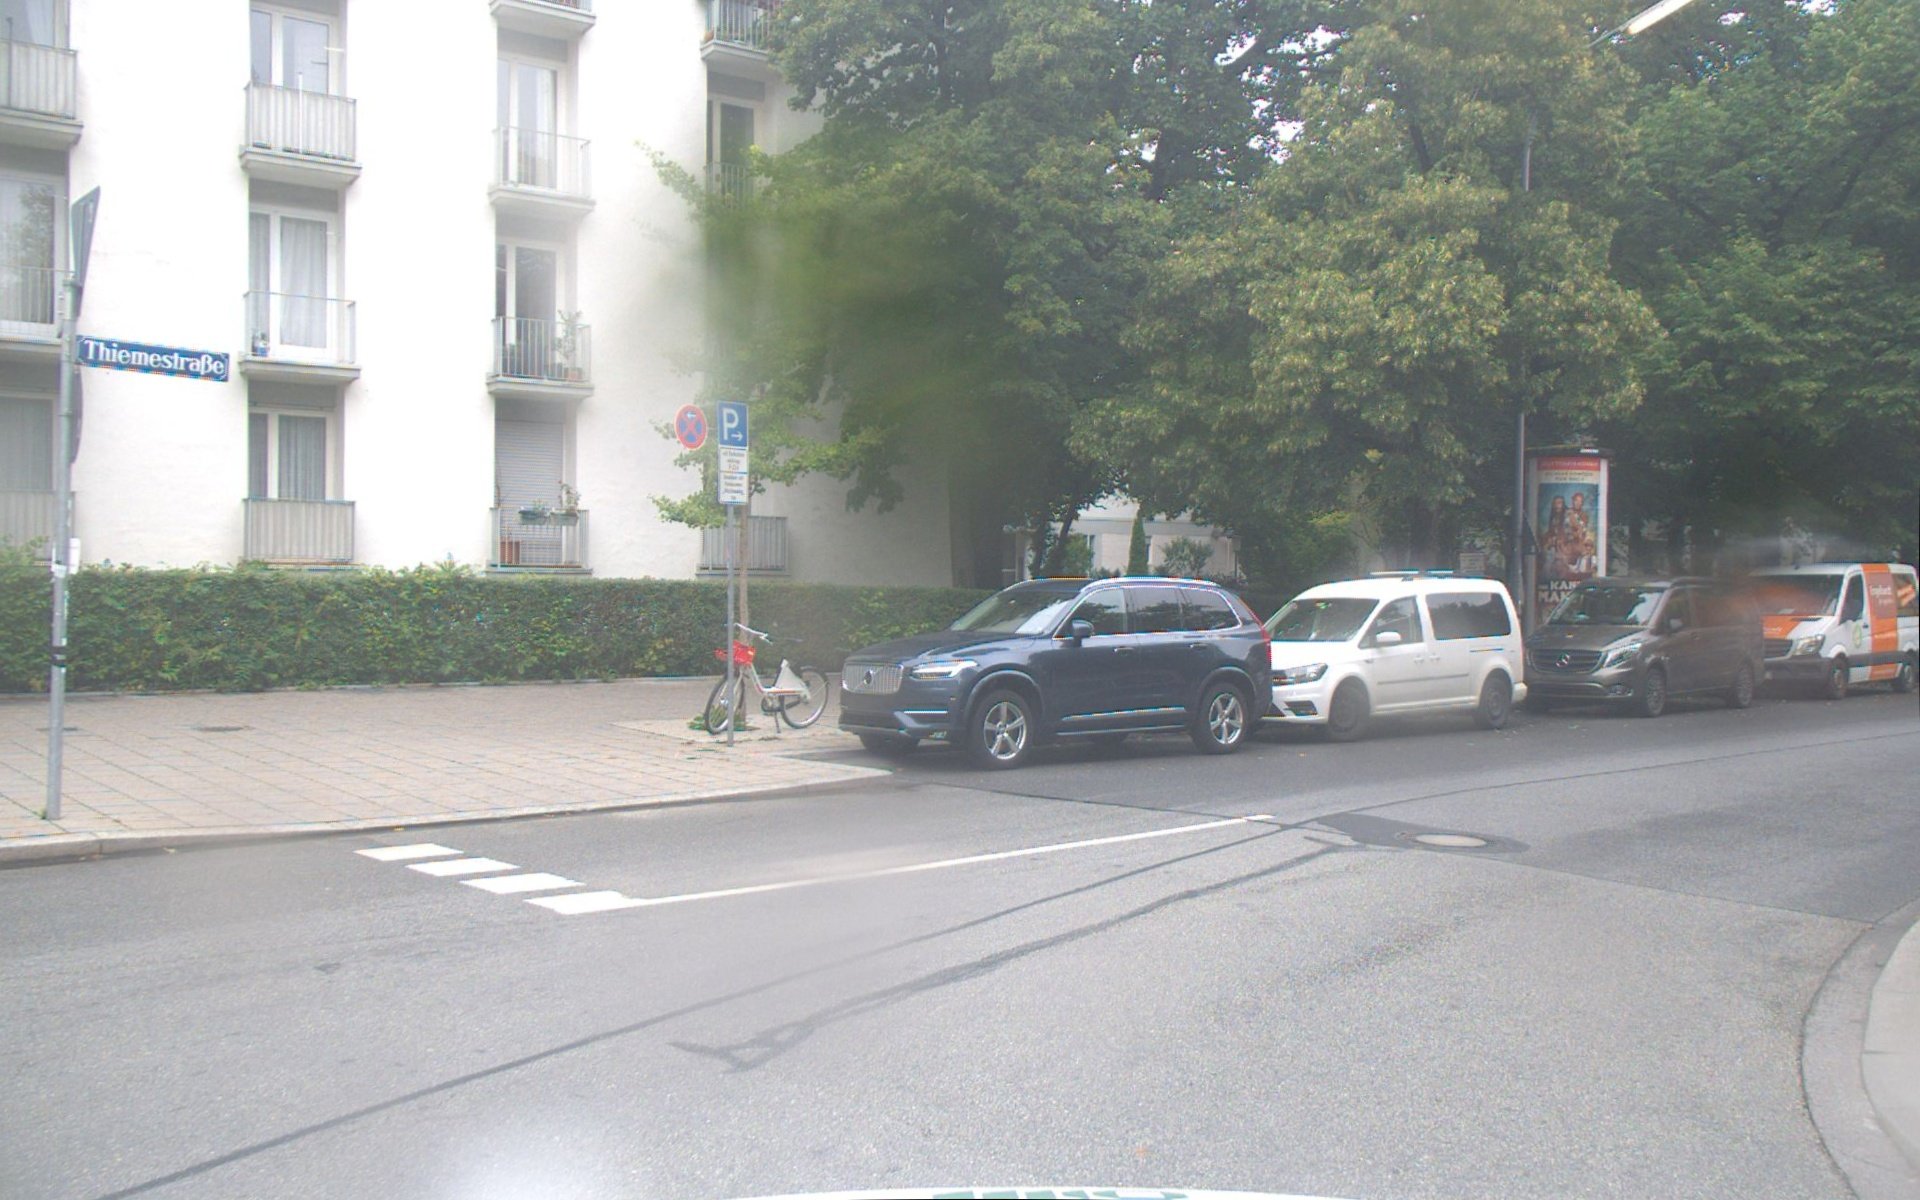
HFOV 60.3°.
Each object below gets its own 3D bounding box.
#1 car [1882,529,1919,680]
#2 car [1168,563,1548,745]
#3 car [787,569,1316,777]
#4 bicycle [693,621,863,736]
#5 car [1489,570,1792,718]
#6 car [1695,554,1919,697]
[{"bbox_3d":[21.923,0.110,35.214,6.181,3.055,2.146,1,0,-43],"label":"car"},{"bbox_3d":[4.905,0.575,20.009,4.814,1.937,2.060,1,0,-41],"label":"car"},{"bbox_3d":[1.046,0.616,16.434,5.253,1.749,2.061,1,0,-39],"label":"car"},{"bbox_3d":[-1.875,0.784,17.266,0.739,1.104,1.776,1,0,38],"label":"bicycle"},{"bbox_3d":[10.114,0.602,24.325,5.621,1.941,2.000,0,-1,-43],"label":"car"},{"bbox_3d":[15.304,0.442,29.290,5.552,2.304,2.059,0,-1,-41],"label":"car"}]
